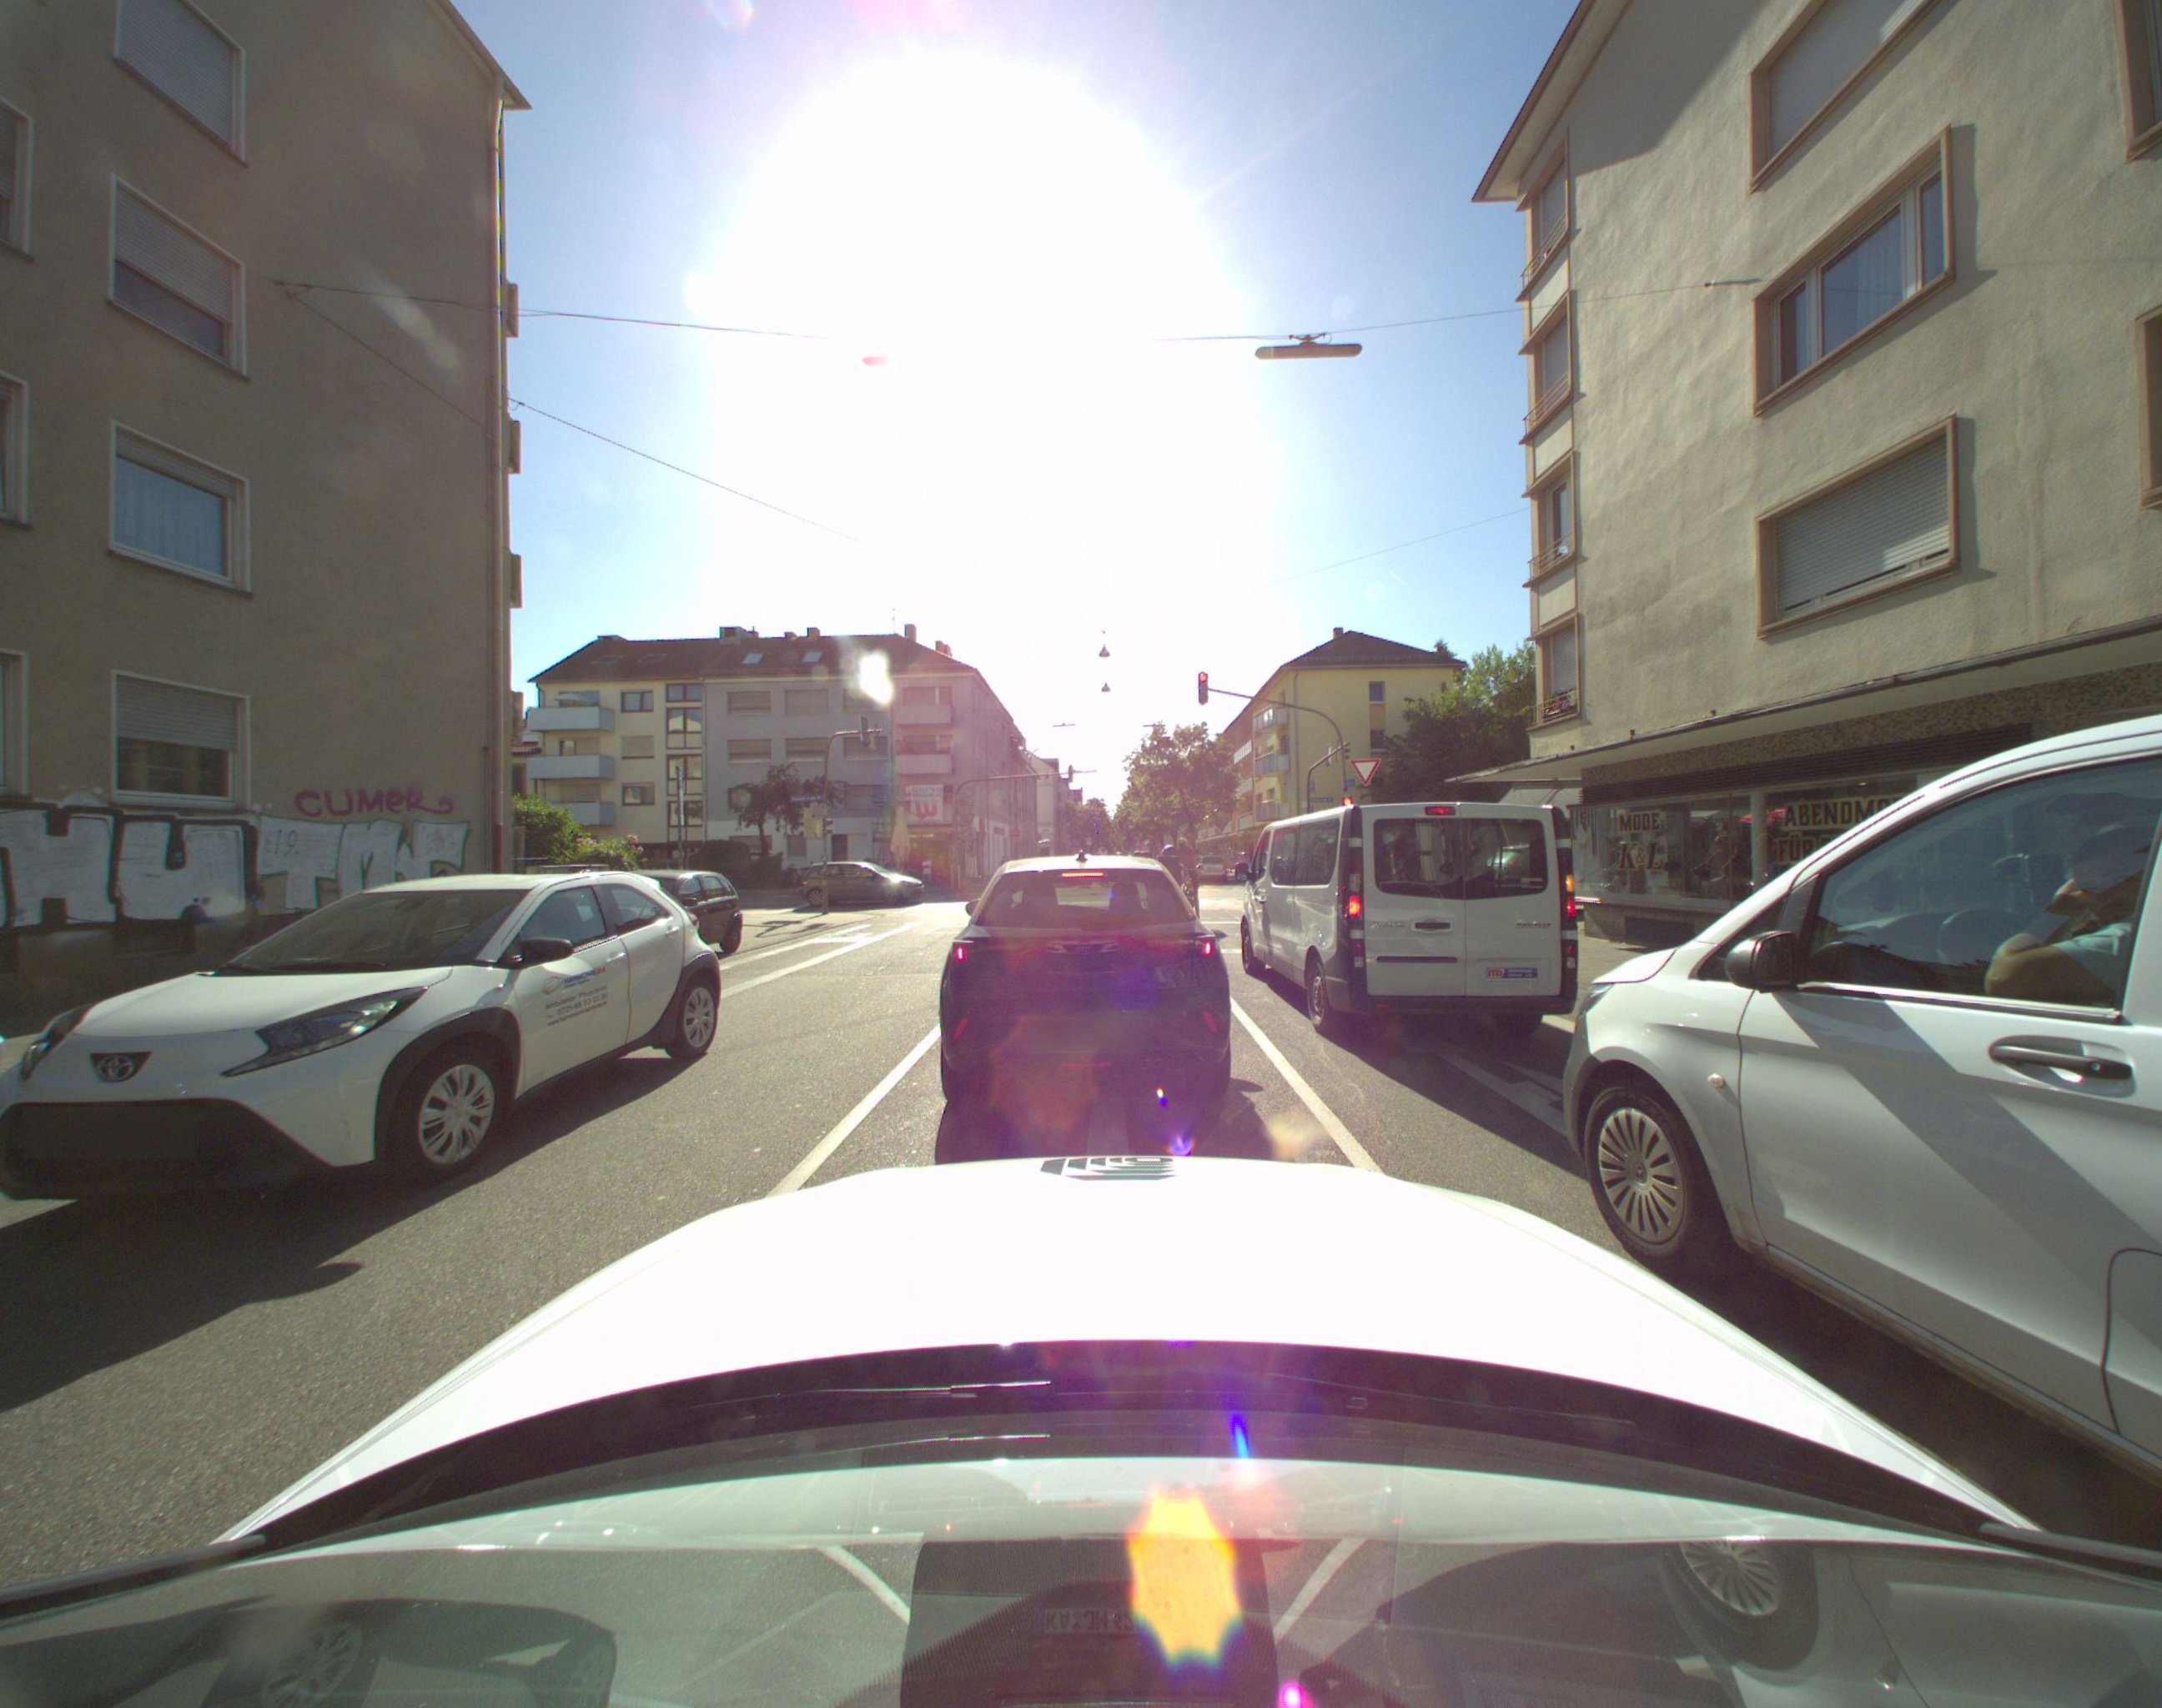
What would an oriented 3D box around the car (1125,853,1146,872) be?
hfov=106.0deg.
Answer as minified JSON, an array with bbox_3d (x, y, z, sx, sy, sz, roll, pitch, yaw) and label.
[{"bbox_3d":[5.210,0.799,78.769,1.894,1.728,4.003,-1,0,2],"label":"car"}]

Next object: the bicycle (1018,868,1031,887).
[{"bbox_3d":[-3.039,1.270,44.167,0.520,0.992,2.339,-1,0,0],"label":"bicycle"}]

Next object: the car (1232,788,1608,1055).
[{"bbox_3d":[2.964,0.500,8.489,1.986,1.979,4.896,0,0,1],"label":"car"}]

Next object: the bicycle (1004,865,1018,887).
[{"bbox_3d":[-3.797,1.188,44.182,0.520,1.147,2.283,-1,0,0],"label":"bicycle"}]

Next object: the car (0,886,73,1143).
[{"bbox_3d":[-7.126,0.919,2.601,1.711,1.465,4.817,1,0,1],"label":"car"}]

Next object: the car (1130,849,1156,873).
[{"bbox_3d":[4.821,0.540,63.420,1.894,1.728,4.077,-1,0,3],"label":"car"}]

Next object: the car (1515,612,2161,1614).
[{"bbox_3d":[2.924,0.472,1.232,1.831,1.869,4.995,-1,0,0],"label":"car"}]

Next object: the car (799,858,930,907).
[{"bbox_3d":[-7.430,0.975,28.239,3.972,1.486,1.834,-2,0,1],"label":"car"}]

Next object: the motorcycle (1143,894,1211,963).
[{"bbox_3d":[1.401,1.076,12.218,0.822,0.845,1.885,-1,0,1],"label":"motorcycle"}]

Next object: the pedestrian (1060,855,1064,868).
[{"bbox_3d":[-2.537,1.015,109.376,0.400,1.675,0.418,-1,0,1],"label":"pedestrian"}]

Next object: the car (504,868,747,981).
[{"bbox_3d":[-6.822,0.967,12.693,1.610,1.425,3.711,-1,0,1],"label":"car"}]

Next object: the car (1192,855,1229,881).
[{"bbox_3d":[7.470,0.766,47.268,1.628,1.433,3.958,-1,0,2],"label":"car"}]

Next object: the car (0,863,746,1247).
[{"bbox_3d":[-3.899,0.858,5.275,1.758,1.536,3.788,-1,0,2],"label":"car"}]

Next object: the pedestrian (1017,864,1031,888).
[{"bbox_3d":[-3.053,1.192,43.705,0.704,1.253,0.802,-1,0,0],"label":"pedestrian"}]

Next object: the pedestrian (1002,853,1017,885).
[{"bbox_3d":[-3.860,0.812,43.997,0.704,1.678,0.802,-1,0,0],"label":"pedestrian"}]

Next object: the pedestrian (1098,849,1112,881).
[{"bbox_3d":[1.267,0.583,43.730,0.704,1.701,0.802,-1,0,0],"label":"pedestrian"}]

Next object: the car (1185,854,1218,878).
[{"bbox_3d":[7.640,0.761,51.946,1.628,1.433,4.002,-1,0,2],"label":"car"}]

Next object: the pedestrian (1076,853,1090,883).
[{"bbox_3d":[0.110,0.731,43.910,0.678,1.606,0.762,-1,0,0],"label":"pedestrian"}]

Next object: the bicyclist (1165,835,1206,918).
[{"bbox_3d":[2.247,0.475,17.625,0.687,1.712,1.414,-1,0,0],"label":"bicyclist"}]

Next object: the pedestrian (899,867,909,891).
[{"bbox_3d":[-8.198,1.177,37.744,0.354,1.092,0.461,-1,0,-1],"label":"pedestrian"}]

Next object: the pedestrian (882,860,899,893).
[{"bbox_3d":[-8.845,1.027,37.809,0.582,1.521,0.649,-1,0,-1],"label":"pedestrian"}]

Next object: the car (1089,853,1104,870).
[{"bbox_3d":[1.923,0.933,100.975,1.848,2.013,3.882,-1,0,2],"label":"car"}]

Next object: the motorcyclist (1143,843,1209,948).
[{"bbox_3d":[1.417,0.602,12.387,0.861,1.502,1.160,-1,0,1],"label":"motorcyclist"}]

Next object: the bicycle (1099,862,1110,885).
[{"bbox_3d":[1.276,1.035,43.951,0.520,1.147,2.170,-1,0,0],"label":"bicycle"}]

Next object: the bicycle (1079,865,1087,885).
[{"bbox_3d":[0.104,1.129,43.844,0.442,0.992,2.068,-1,0,0],"label":"bicycle"}]

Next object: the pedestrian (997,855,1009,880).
[{"bbox_3d":[-4.906,0.838,51.250,0.615,1.521,0.724,-1,0,-1],"label":"pedestrian"}]

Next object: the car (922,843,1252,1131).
[{"bbox_3d":[0.040,0.722,6.429,1.765,1.530,3.999,-1,0,0],"label":"car"}]

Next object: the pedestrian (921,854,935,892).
[{"bbox_3d":[-7.215,0.903,38.404,0.560,1.775,0.582,-1,0,-7],"label":"pedestrian"}]

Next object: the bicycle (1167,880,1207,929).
[{"bbox_3d":[2.278,1.062,17.729,0.575,0.904,2.301,-1,0,0],"label":"bicycle"}]

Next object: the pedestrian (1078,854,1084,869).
[{"bbox_3d":[0.040,0.875,91.078,0.567,1.690,0.589,-1,0,8],"label":"pedestrian"}]

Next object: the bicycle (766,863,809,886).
[{"bbox_3d":[-15.572,1.080,43.241,2.103,1.172,0.735,-1,0,-22],"label":"bicycle"}]

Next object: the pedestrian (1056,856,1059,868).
[{"bbox_3d":[-3.161,1.044,109.771,0.400,1.675,0.418,-1,0,1],"label":"pedestrian"}]
